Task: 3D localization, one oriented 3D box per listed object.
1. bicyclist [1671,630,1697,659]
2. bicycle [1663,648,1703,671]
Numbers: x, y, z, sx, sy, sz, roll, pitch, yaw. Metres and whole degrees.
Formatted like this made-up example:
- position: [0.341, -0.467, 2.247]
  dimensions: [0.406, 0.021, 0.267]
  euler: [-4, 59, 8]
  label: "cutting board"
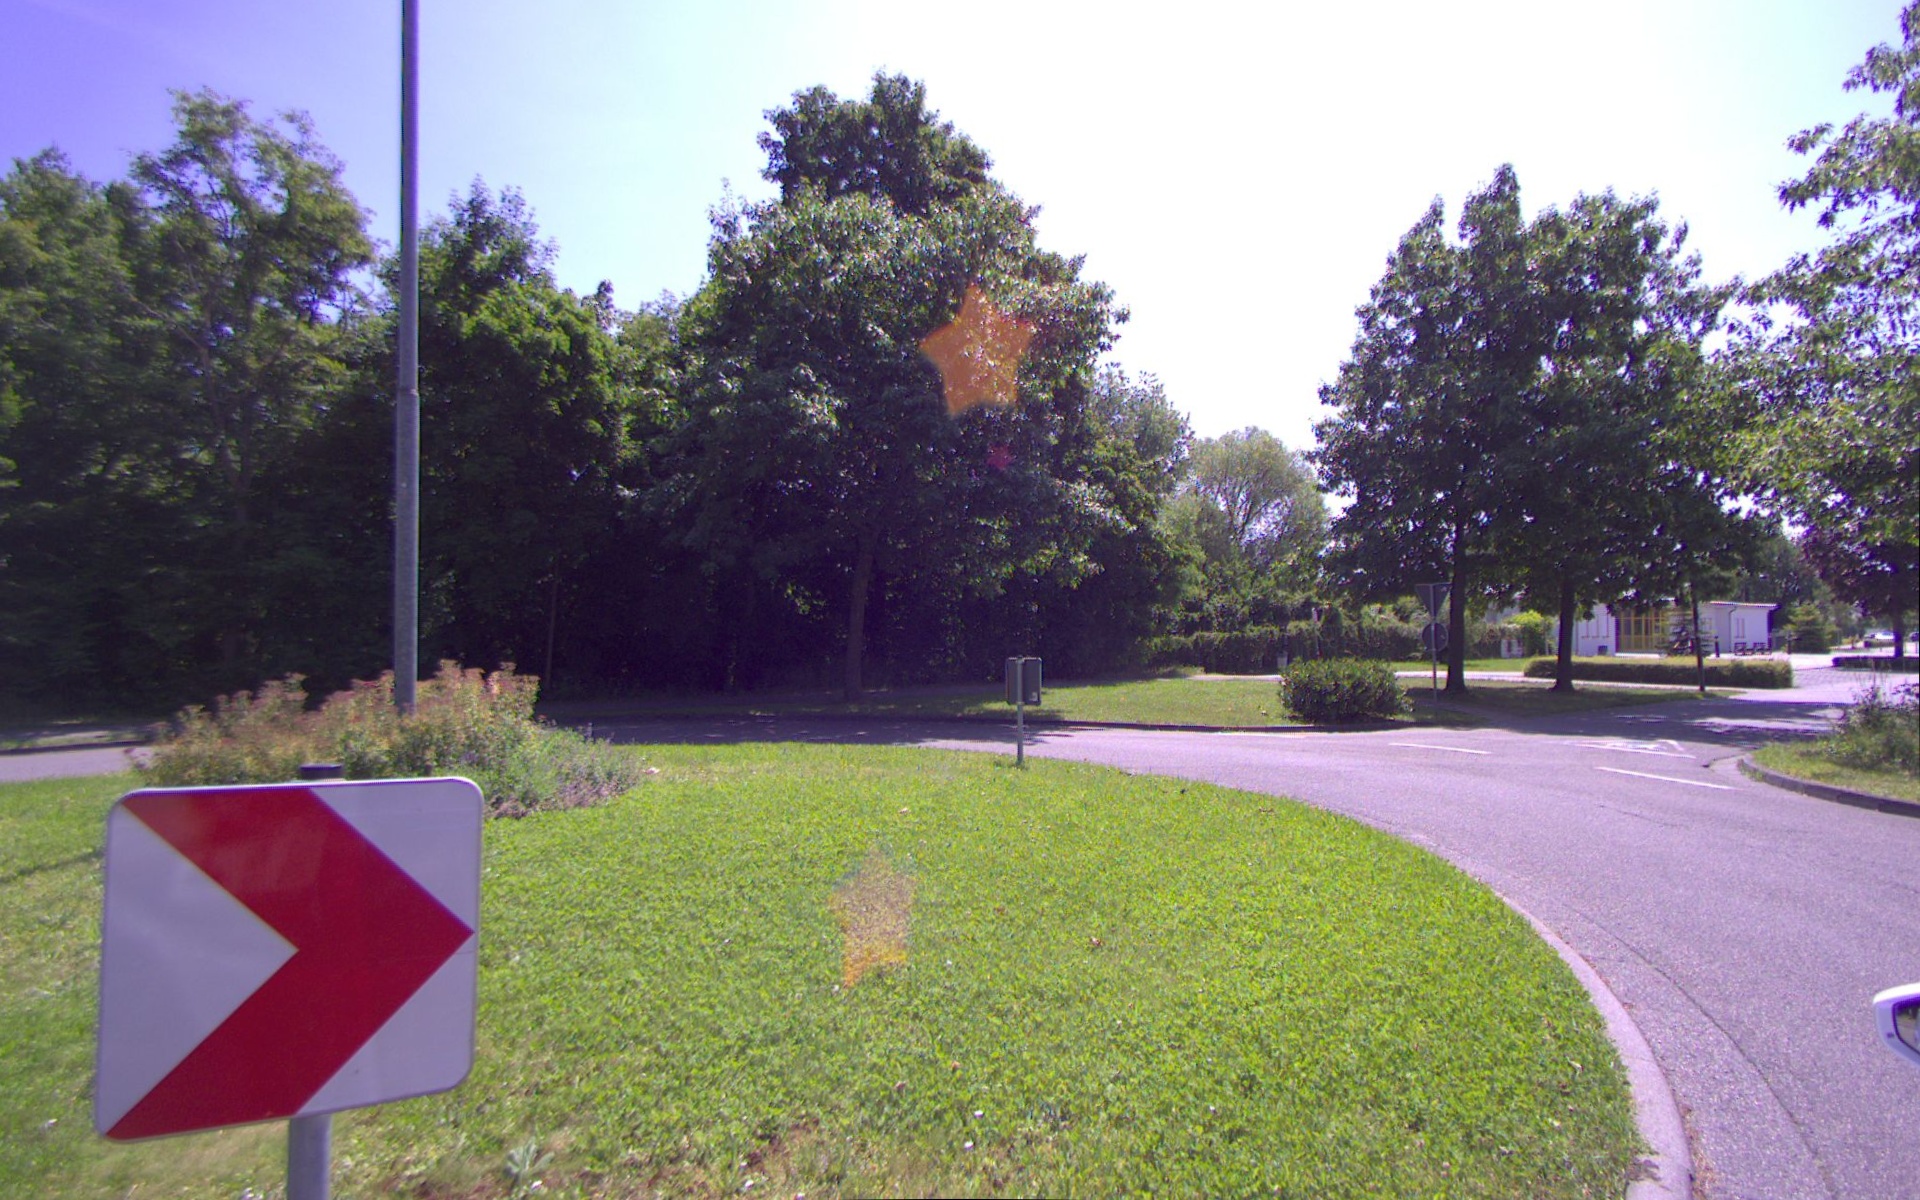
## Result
- position: [30.164, 1.845, 41.853]
  dimensions: [0.639, 1.180, 0.596]
  euler: [0, -2, -21]
  label: "bicyclist"
- position: [30.095, 2.478, 41.802]
  dimensions: [1.596, 0.941, 0.596]
  euler: [0, -2, -22]
  label: "bicycle"
